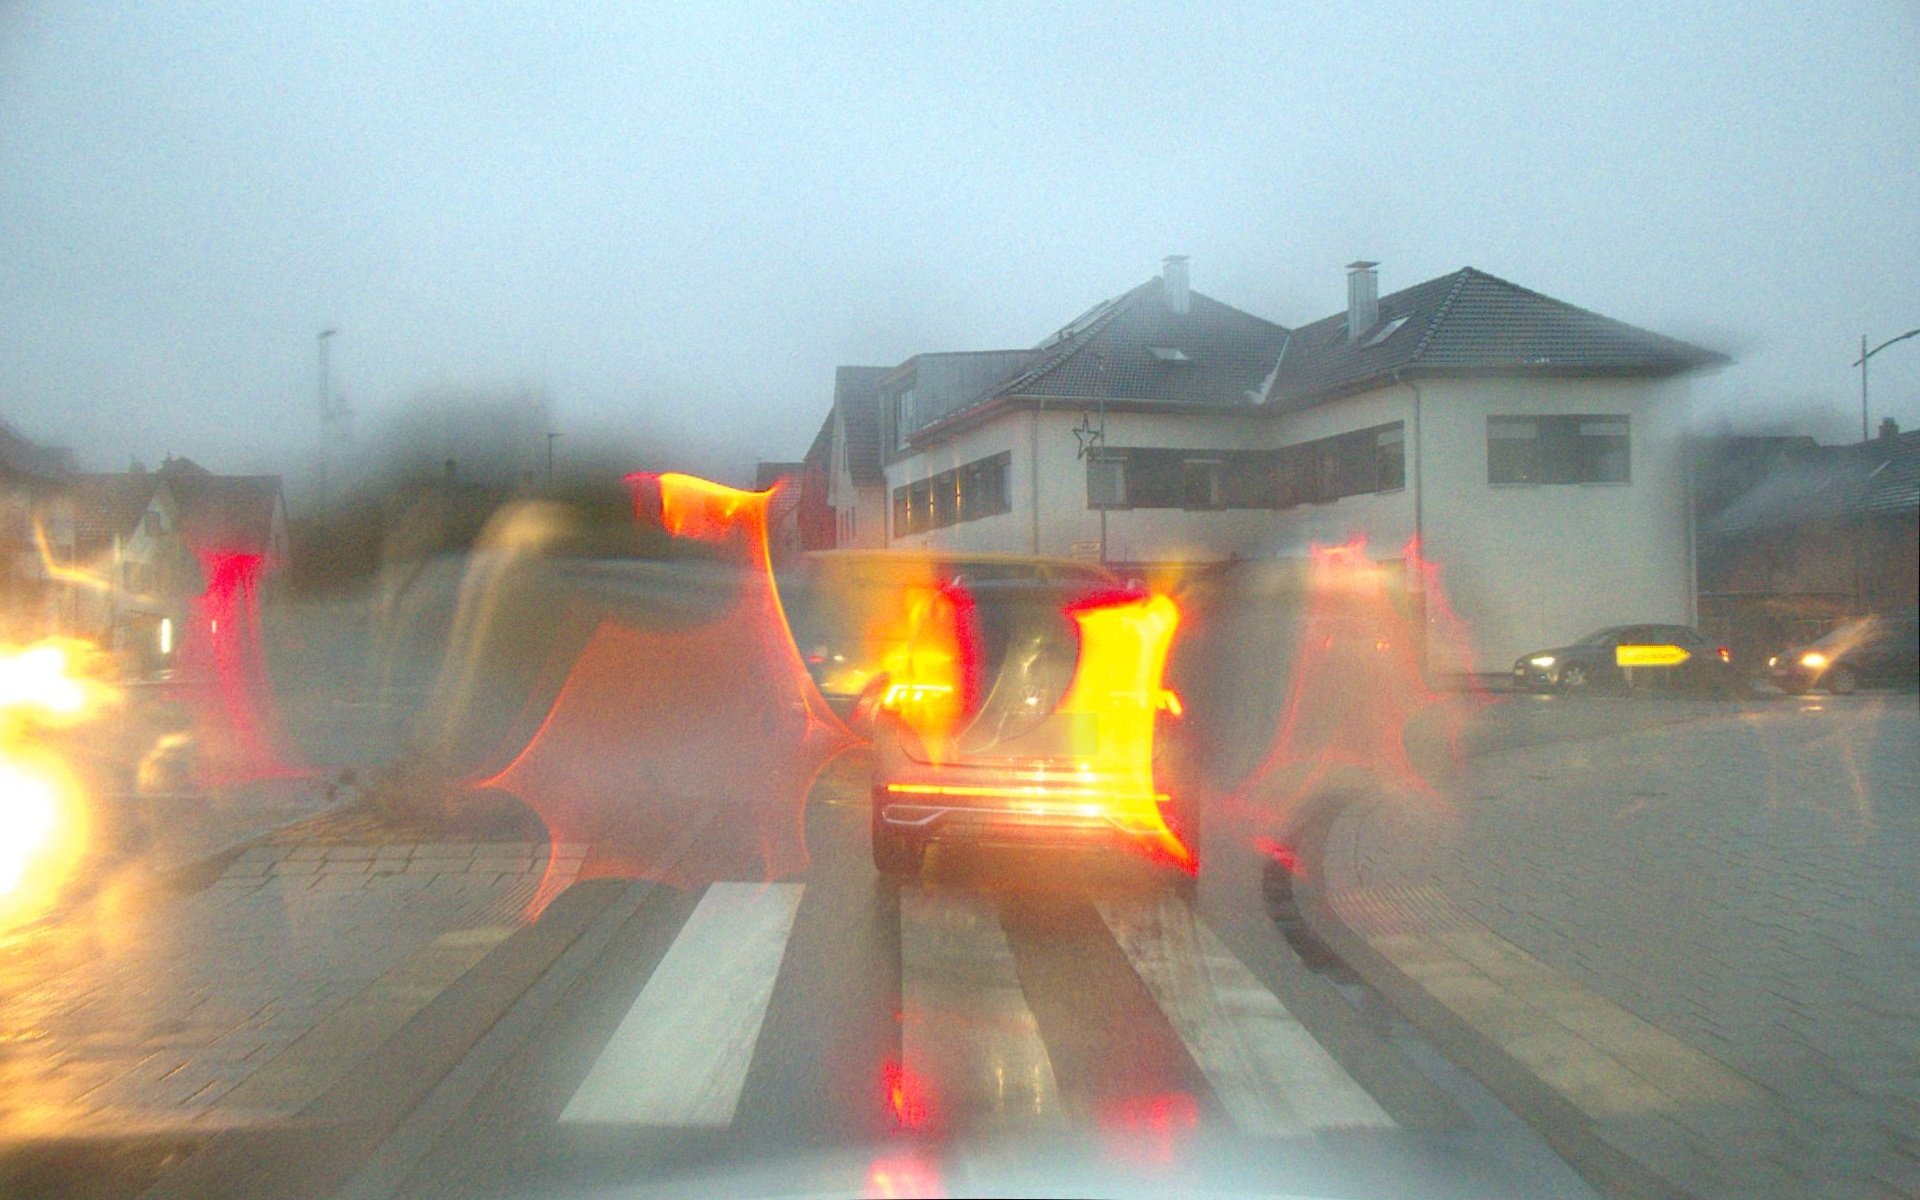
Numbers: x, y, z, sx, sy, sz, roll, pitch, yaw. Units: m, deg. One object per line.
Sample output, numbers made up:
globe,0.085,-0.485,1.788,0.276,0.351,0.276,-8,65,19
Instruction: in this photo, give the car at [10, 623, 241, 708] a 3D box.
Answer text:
car,-17.469,1.351,34.777,3.978,1.691,1.701,0,-1,-7

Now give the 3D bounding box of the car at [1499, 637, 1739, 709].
car,13.336,1.491,33.618,4.138,1.408,1.848,0,-3,-5

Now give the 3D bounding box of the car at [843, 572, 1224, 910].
car,0.597,0.691,10.109,1.875,1.643,3.953,0,0,7

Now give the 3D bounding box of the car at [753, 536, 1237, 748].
car,0.324,0.407,17.598,4.803,2.049,1.992,0,-1,-16

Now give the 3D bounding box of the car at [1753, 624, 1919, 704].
car,18.591,1.297,33.843,3.907,1.579,1.696,0,-2,-3

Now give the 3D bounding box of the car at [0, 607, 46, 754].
car,-10.669,0.820,17.521,1.485,1.436,3.339,0,-1,-25

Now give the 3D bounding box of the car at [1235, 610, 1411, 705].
car,6.539,0.988,30.209,1.746,1.566,3.922,-1,0,-10
